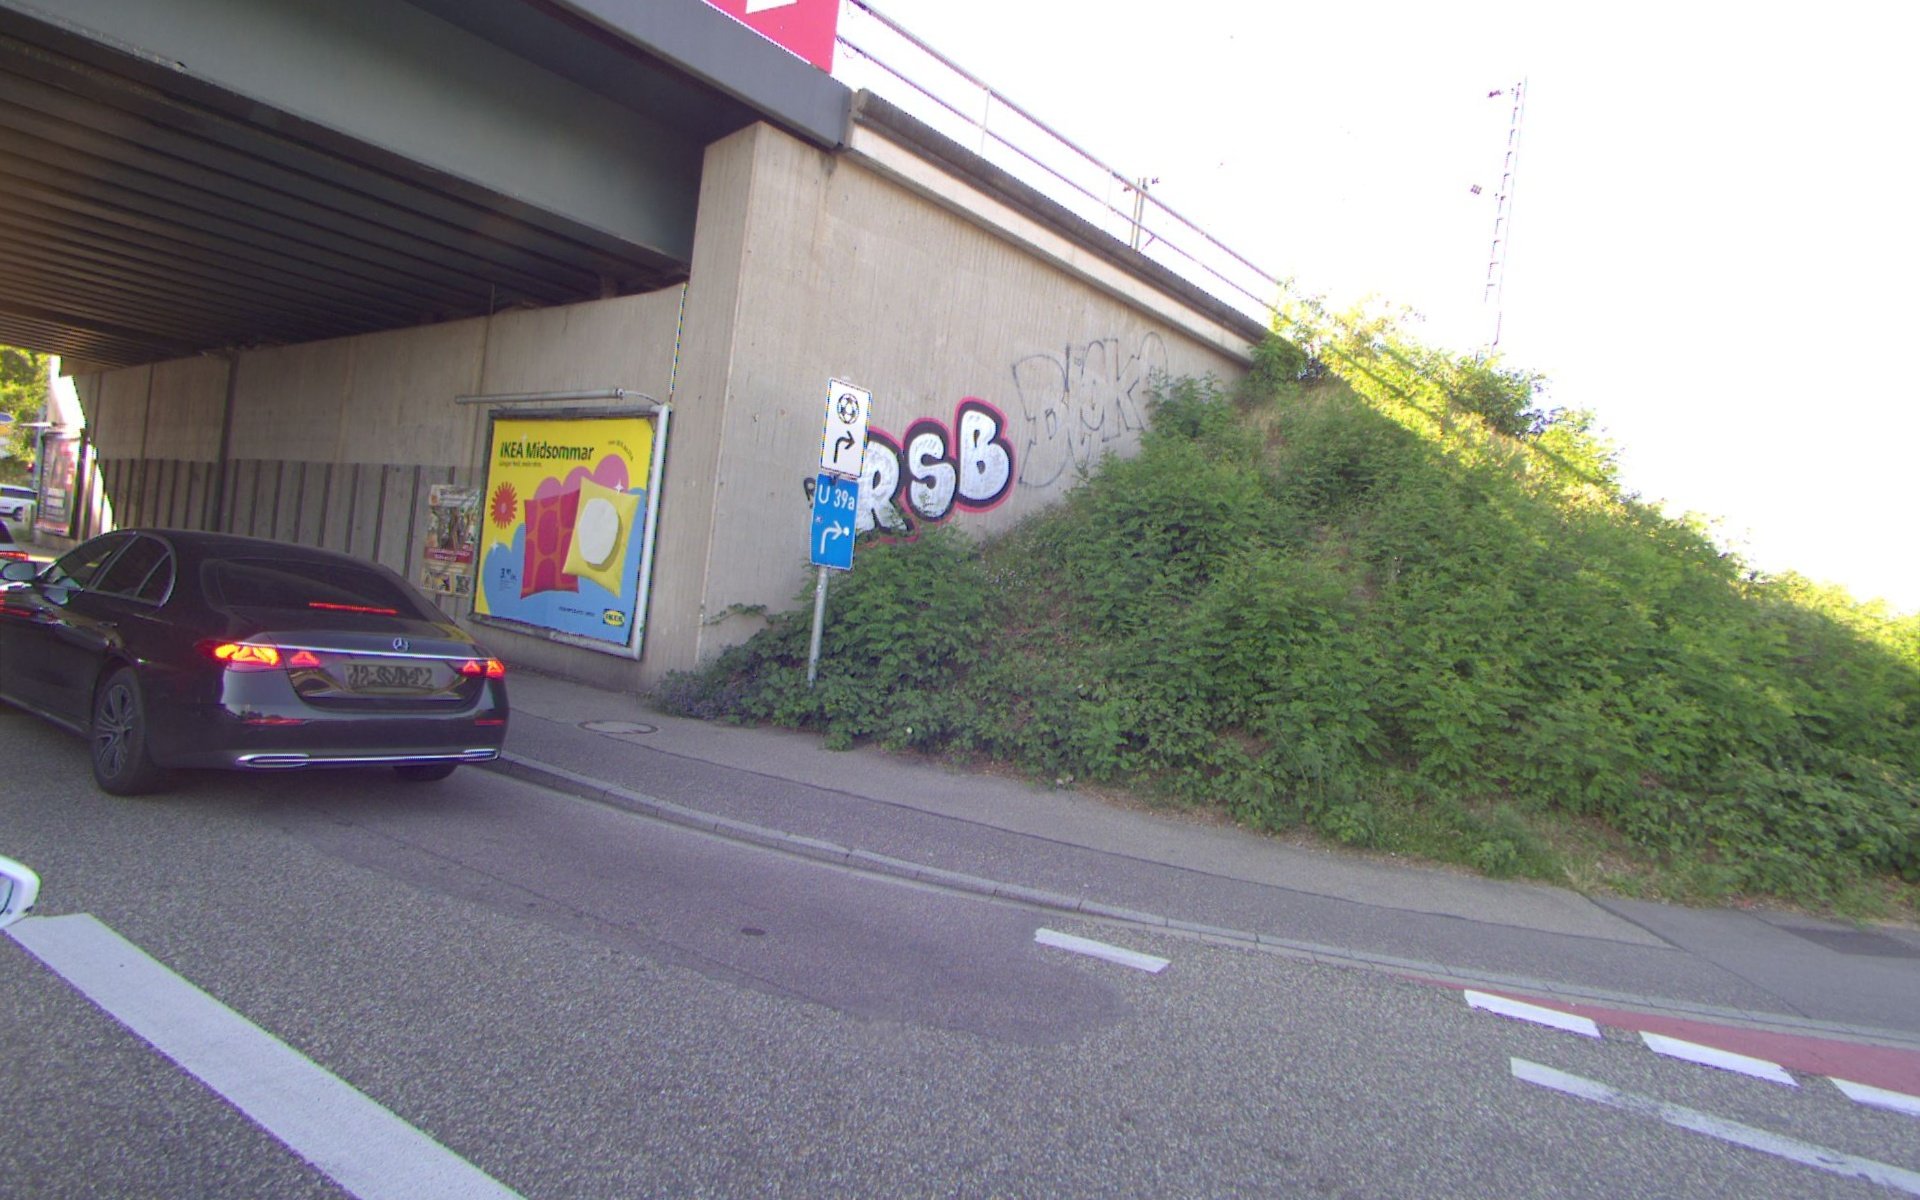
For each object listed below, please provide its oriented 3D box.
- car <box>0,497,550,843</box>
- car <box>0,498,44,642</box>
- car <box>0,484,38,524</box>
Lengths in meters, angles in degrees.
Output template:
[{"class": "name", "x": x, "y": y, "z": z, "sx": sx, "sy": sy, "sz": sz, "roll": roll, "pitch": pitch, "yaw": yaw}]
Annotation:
[{"class": "car", "x": -4.993, "y": 0.263, "z": 6.745, "sx": 4.530, "sy": 1.472, "sz": 1.743, "roll": 7, "pitch": -1, "yaw": 33}, {"class": "car", "x": -12.040, "y": -0.496, "z": 11.264, "sx": 3.772, "sy": 1.514, "sz": 1.772, "roll": 5, "pitch": 0, "yaw": 35}, {"class": "car", "x": -44.897, "y": -4.526, "z": 46.031, "sx": 1.641, "sy": 1.706, "sz": 3.785, "roll": 6, "pitch": 2, "yaw": 40}]
